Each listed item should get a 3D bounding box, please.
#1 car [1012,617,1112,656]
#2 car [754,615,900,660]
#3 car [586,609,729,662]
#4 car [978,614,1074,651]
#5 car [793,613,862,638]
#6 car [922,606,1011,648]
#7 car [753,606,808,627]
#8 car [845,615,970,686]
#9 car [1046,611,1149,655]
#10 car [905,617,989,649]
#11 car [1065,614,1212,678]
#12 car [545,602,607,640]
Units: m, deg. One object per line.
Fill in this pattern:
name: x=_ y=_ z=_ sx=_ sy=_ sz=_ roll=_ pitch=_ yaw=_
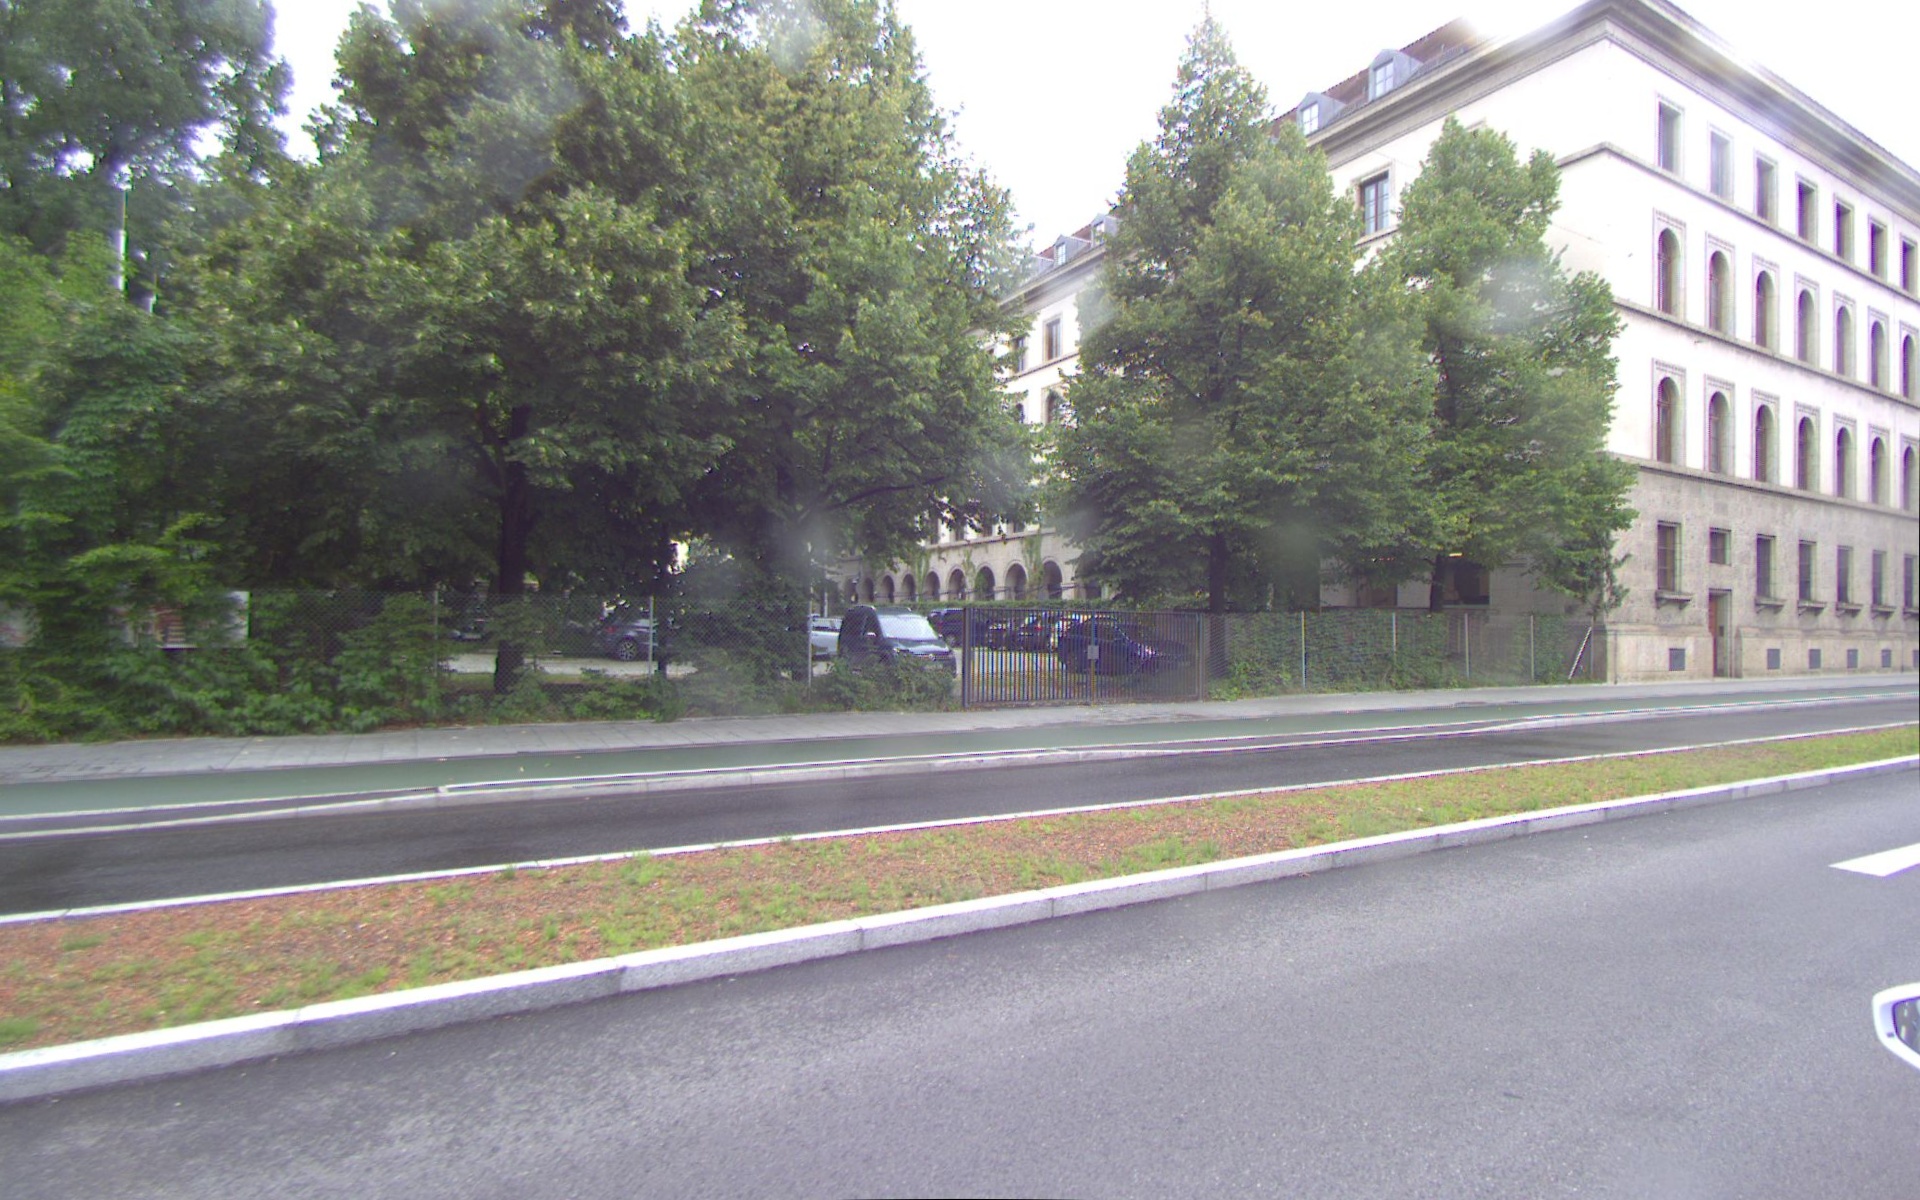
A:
car: x=4.325 y=1.532 z=42.515 sx=3.954 sy=1.564 sz=1.761 roll=1 pitch=-1 yaw=-31
car: x=-4.554 y=1.267 z=34.530 sx=4.580 sy=1.460 sz=1.983 roll=1 pitch=-1 yaw=-31
car: x=-9.436 y=1.095 z=31.437 sx=3.956 sy=1.564 sz=1.761 roll=1 pitch=-1 yaw=-32
car: x=2.945 y=1.449 z=44.561 sx=3.954 sy=1.564 sz=1.761 roll=1 pitch=-1 yaw=-31
car: x=-8.376 y=1.624 z=63.508 sx=3.954 sy=1.564 sz=1.761 roll=1 pitch=-1 yaw=-31
car: x=0.326 y=1.333 z=48.933 sx=3.949 sy=1.954 sz=1.838 roll=1 pitch=-1 yaw=-28
car: x=-14.124 y=1.283 z=79.119 sx=3.954 sy=1.564 sz=1.761 roll=1 pitch=-1 yaw=-31
car: x=-1.390 y=1.196 z=24.869 sx=1.779 sy=1.610 sz=4.137 roll=1 pitch=-1 yaw=-23
car: x=5.528 y=1.327 z=40.293 sx=3.954 sy=1.662 sz=1.657 roll=1 pitch=-1 yaw=-31
car: x=-0.652 y=1.670 z=51.153 sx=3.954 sy=1.564 sz=1.761 roll=1 pitch=-1 yaw=-31
car: x=4.912 y=1.241 z=28.239 sx=1.783 sy=1.671 sz=4.243 roll=1 pitch=-2 yaw=-30
car: x=-18.118 y=0.988 z=47.311 sx=1.978 sy=1.742 sz=3.965 roll=1 pitch=-1 yaw=-32
